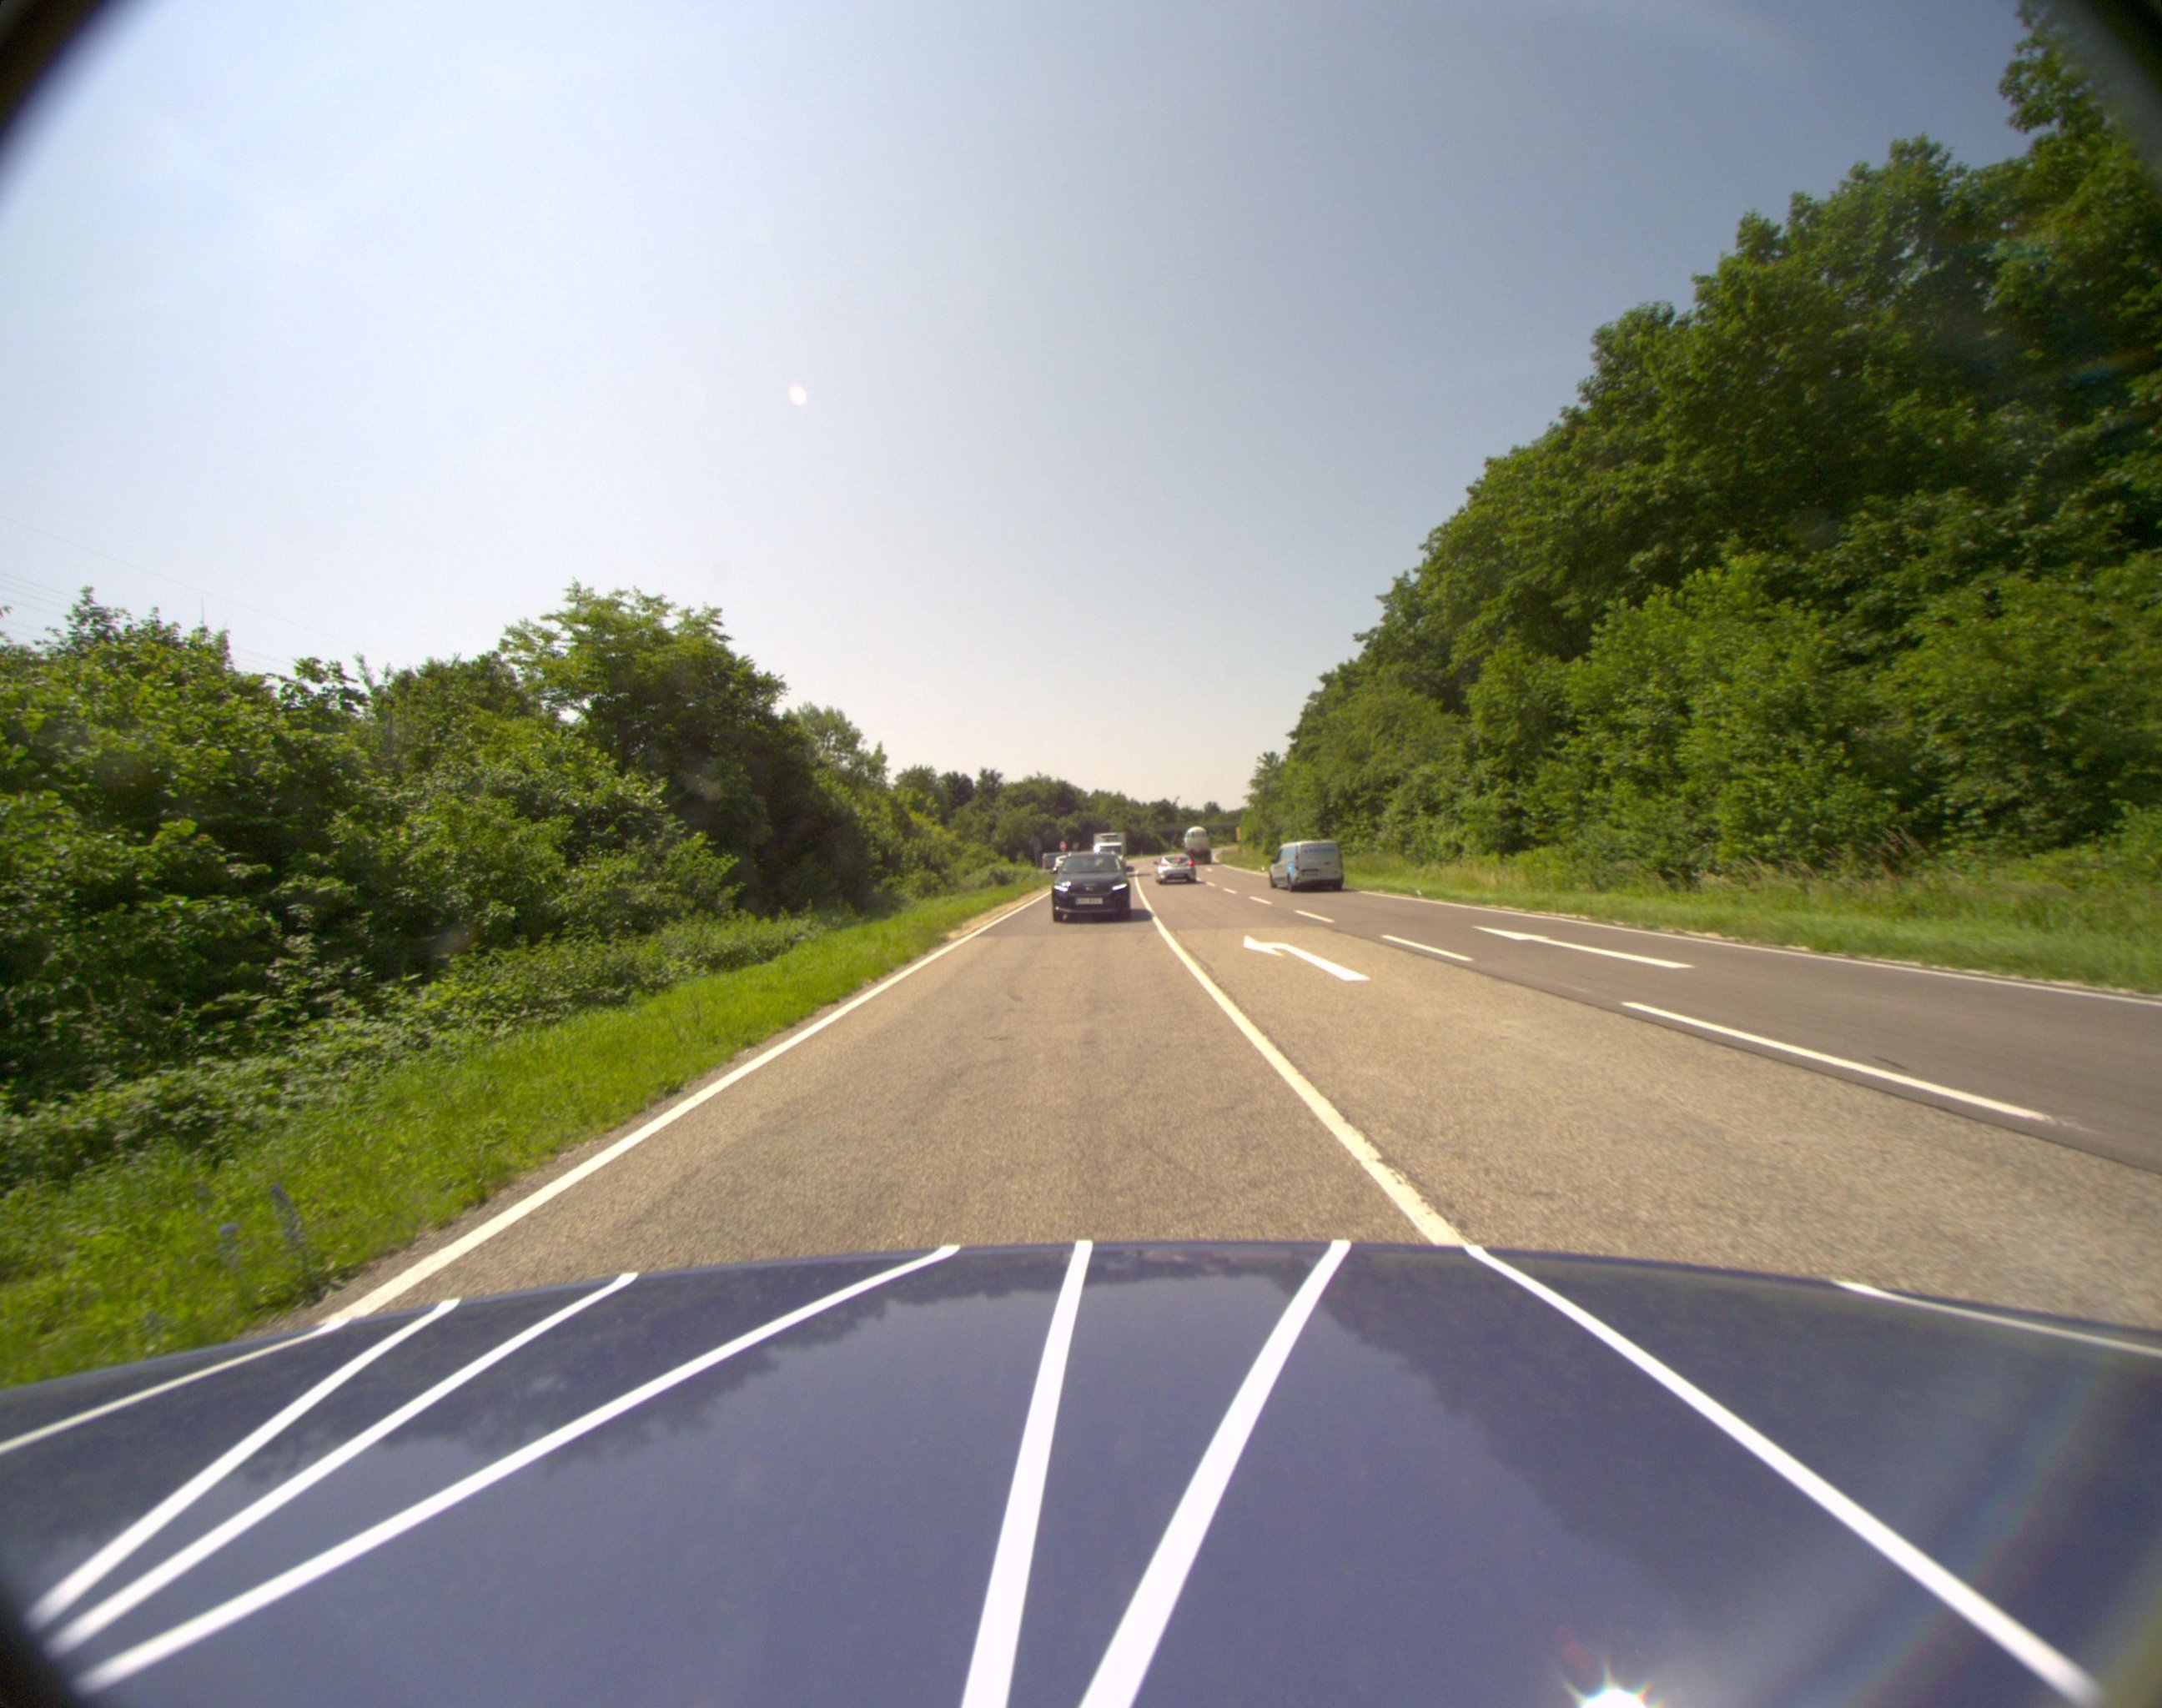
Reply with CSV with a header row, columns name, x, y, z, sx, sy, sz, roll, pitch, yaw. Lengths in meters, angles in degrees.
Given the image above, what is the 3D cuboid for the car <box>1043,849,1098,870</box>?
name,x,y,z,sx,sy,sz,roll,pitch,yaw
car,-1.116,0.532,77.606,5.231,1.896,2.011,-3,1,-11

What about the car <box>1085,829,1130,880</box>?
name,x,y,z,sx,sy,sz,roll,pitch,yaw
car,1.888,-0.040,51.301,2.591,3.047,6.882,-2,1,4

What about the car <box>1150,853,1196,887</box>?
name,x,y,z,sx,sy,sz,roll,pitch,yaw
car,4.488,0.753,37.578,1.713,1.411,4.096,-3,2,-1

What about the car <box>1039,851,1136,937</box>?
name,x,y,z,sx,sy,sz,roll,pitch,yaw
car,0.284,0.823,18.496,1.924,1.711,5.479,-2,0,3

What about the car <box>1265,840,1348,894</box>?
name,x,y,z,sx,sy,sz,roll,pitch,yaw
car,8.231,0.432,28.204,1.847,1.769,4.894,-2,0,3

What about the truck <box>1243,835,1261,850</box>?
name,x,y,z,sx,sy,sz,roll,pitch,yaw
truck,50.390,-3.536,223.076,2.800,4.072,11.079,-2,1,24

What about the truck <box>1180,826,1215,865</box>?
name,x,y,z,sx,sy,sz,roll,pitch,yaw
truck,11.703,-0.887,77.053,2.633,3.649,8.797,-2,1,3

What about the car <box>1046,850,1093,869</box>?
name,x,y,z,sx,sy,sz,roll,pitch,yaw
car,-1.094,0.525,71.565,3.984,1.570,1.849,-3,-1,32
